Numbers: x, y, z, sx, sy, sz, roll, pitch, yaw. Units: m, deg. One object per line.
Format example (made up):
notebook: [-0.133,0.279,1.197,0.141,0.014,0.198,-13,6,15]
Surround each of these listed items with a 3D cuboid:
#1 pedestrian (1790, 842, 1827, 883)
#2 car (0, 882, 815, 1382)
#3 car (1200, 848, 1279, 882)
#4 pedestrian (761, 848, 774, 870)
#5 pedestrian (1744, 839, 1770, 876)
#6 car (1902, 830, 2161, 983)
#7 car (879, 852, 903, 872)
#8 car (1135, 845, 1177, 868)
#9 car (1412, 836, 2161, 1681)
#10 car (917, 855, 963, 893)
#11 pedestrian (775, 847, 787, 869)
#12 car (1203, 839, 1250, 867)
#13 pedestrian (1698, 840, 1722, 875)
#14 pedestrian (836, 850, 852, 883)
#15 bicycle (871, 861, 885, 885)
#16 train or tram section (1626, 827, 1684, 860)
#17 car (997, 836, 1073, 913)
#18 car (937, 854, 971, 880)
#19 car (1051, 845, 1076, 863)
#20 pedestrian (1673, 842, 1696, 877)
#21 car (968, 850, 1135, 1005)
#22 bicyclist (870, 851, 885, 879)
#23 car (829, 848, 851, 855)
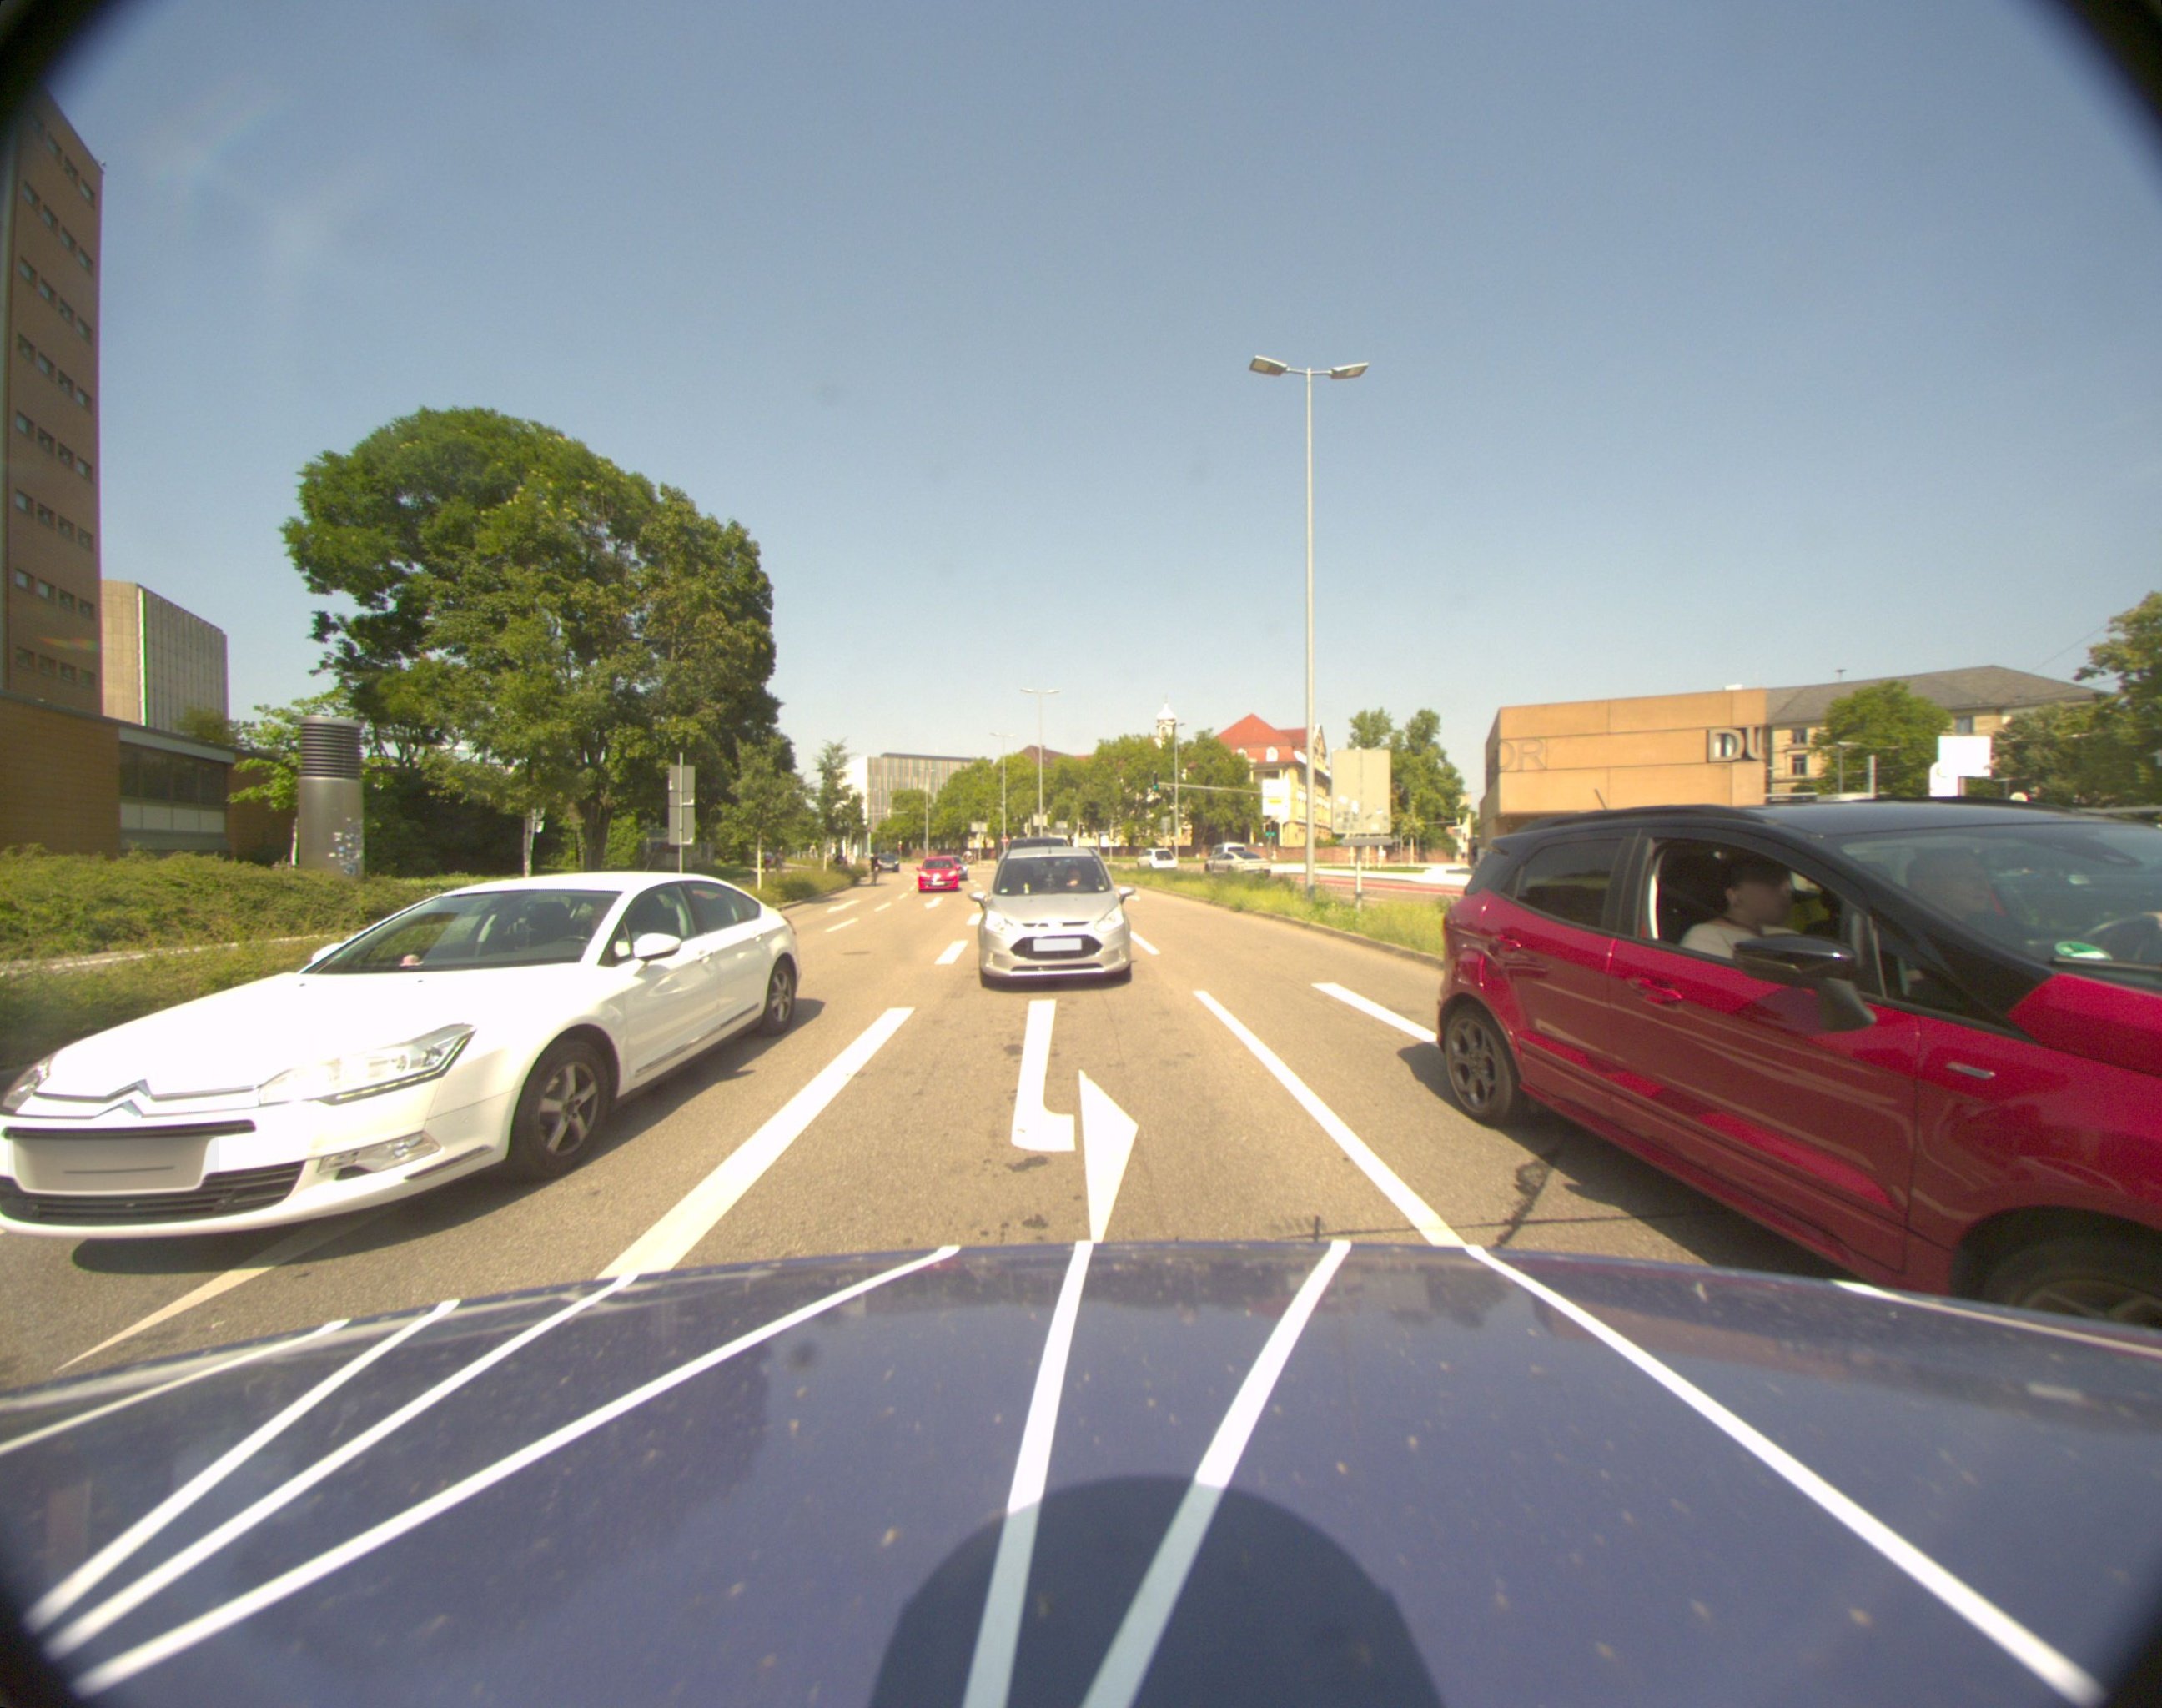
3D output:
pedestrian: [26.763,0.299,27.966,0.771,1.488,0.606,0,1,-3]
car: [-3.386,0.992,4.772,1.773,1.420,4.609,0,1,0]
car: [7.860,0.497,38.120,2.001,1.576,4.709,-1,0,-15]
pedestrian: [-18.463,0.278,44.777,0.635,1.291,0.486,-3,2,-19]
pedestrian: [27.598,0.129,31.024,0.539,1.488,0.541,0,1,-3]
car: [12.162,0.539,8.031,1.771,1.591,4.539,-1,1,-7]
car: [-15.959,0.670,64.039,1.812,1.652,3.995,0,0,-12]
car: [4.916,0.166,50.197,1.527,1.470,3.472,-1,1,-17]
car: [2.858,0.758,2.554,1.694,1.577,3.844,-2,1,-2]
car: [-5.887,0.798,32.047,1.651,1.422,3.813,-2,1,-7]
pedestrian: [-17.761,0.235,45.041,0.577,1.291,0.436,-3,2,-20]
car: [9.847,-0.101,51.701,1.869,1.844,3.911,-1,1,-11]
pedestrian: [26.613,0.147,32.132,0.539,1.488,0.541,0,1,-3]
pedestrian: [-13.533,0.711,43.382,0.823,1.892,0.630,-1,1,-14]
bicycle: [-10.306,0.949,38.500,0.595,1.162,2.232,-1,1,-17]
train or tram section: [64.490,-1.187,85.691,2.698,3.419,13.444,0,1,26]
car: [-1.319,0.512,21.675,1.891,1.908,4.531,-2,1,-4]
car: [-7.209,0.684,42.813,1.566,1.387,3.245,-1,1,-15]
car: [-1.457,0.003,63.157,1.527,1.418,3.474,-1,0,-11]
pedestrian: [25.564,0.227,32.178,0.539,1.488,0.541,0,1,-3]
car: [-0.367,0.742,10.090,1.659,1.521,4.532,-2,1,-2]
bicyclist: [-10.311,0.571,38.510,0.680,1.392,1.048,-1,1,-17]
car: [-55.544,-0.641,175.103,4.429,1.380,1.766,-2,1,-39]
